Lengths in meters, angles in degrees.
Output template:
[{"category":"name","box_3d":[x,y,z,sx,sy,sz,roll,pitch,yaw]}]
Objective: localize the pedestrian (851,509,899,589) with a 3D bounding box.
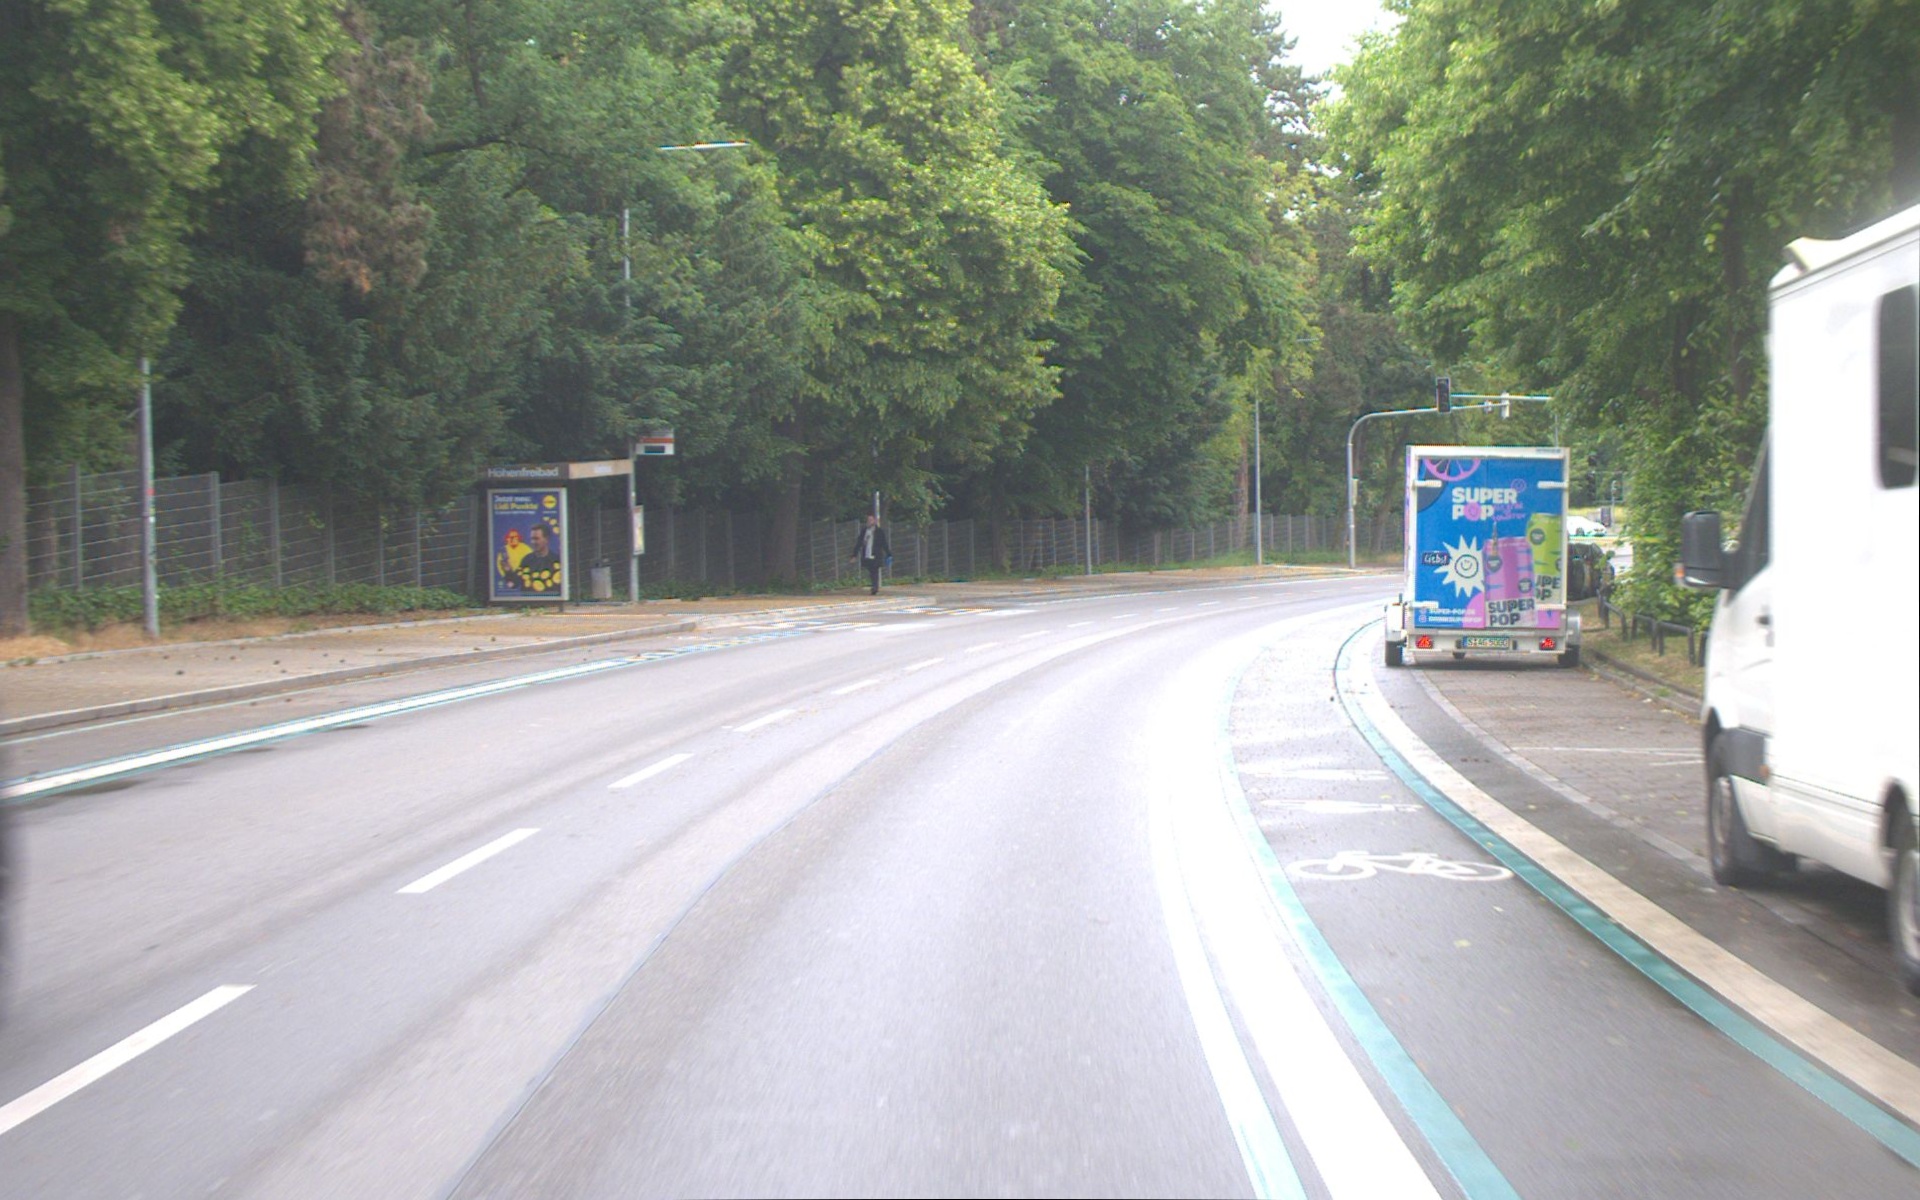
[{"category":"pedestrian","box_3d":[-1.856,-1.127,75.273,0.887,1.727,1.146,1,1,7]}]

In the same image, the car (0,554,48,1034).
[{"category":"car","box_3d":[-3.802,0.618,8.716,1.760,1.432,4.151,0,1,2]}]

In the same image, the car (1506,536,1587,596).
[{"category":"car","box_3d":[14.939,-0.879,87.425,1.700,1.415,4.761,2,1,13]}]

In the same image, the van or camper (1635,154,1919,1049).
[{"category":"van or camper","box_3d":[4.172,-0.054,12.968,2.317,2.655,6.382,0,1,3]}]

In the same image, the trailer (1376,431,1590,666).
[{"category":"trailer","box_3d":[6.288,-0.642,41.930,2.316,2.663,5.375,1,1,6]}]
